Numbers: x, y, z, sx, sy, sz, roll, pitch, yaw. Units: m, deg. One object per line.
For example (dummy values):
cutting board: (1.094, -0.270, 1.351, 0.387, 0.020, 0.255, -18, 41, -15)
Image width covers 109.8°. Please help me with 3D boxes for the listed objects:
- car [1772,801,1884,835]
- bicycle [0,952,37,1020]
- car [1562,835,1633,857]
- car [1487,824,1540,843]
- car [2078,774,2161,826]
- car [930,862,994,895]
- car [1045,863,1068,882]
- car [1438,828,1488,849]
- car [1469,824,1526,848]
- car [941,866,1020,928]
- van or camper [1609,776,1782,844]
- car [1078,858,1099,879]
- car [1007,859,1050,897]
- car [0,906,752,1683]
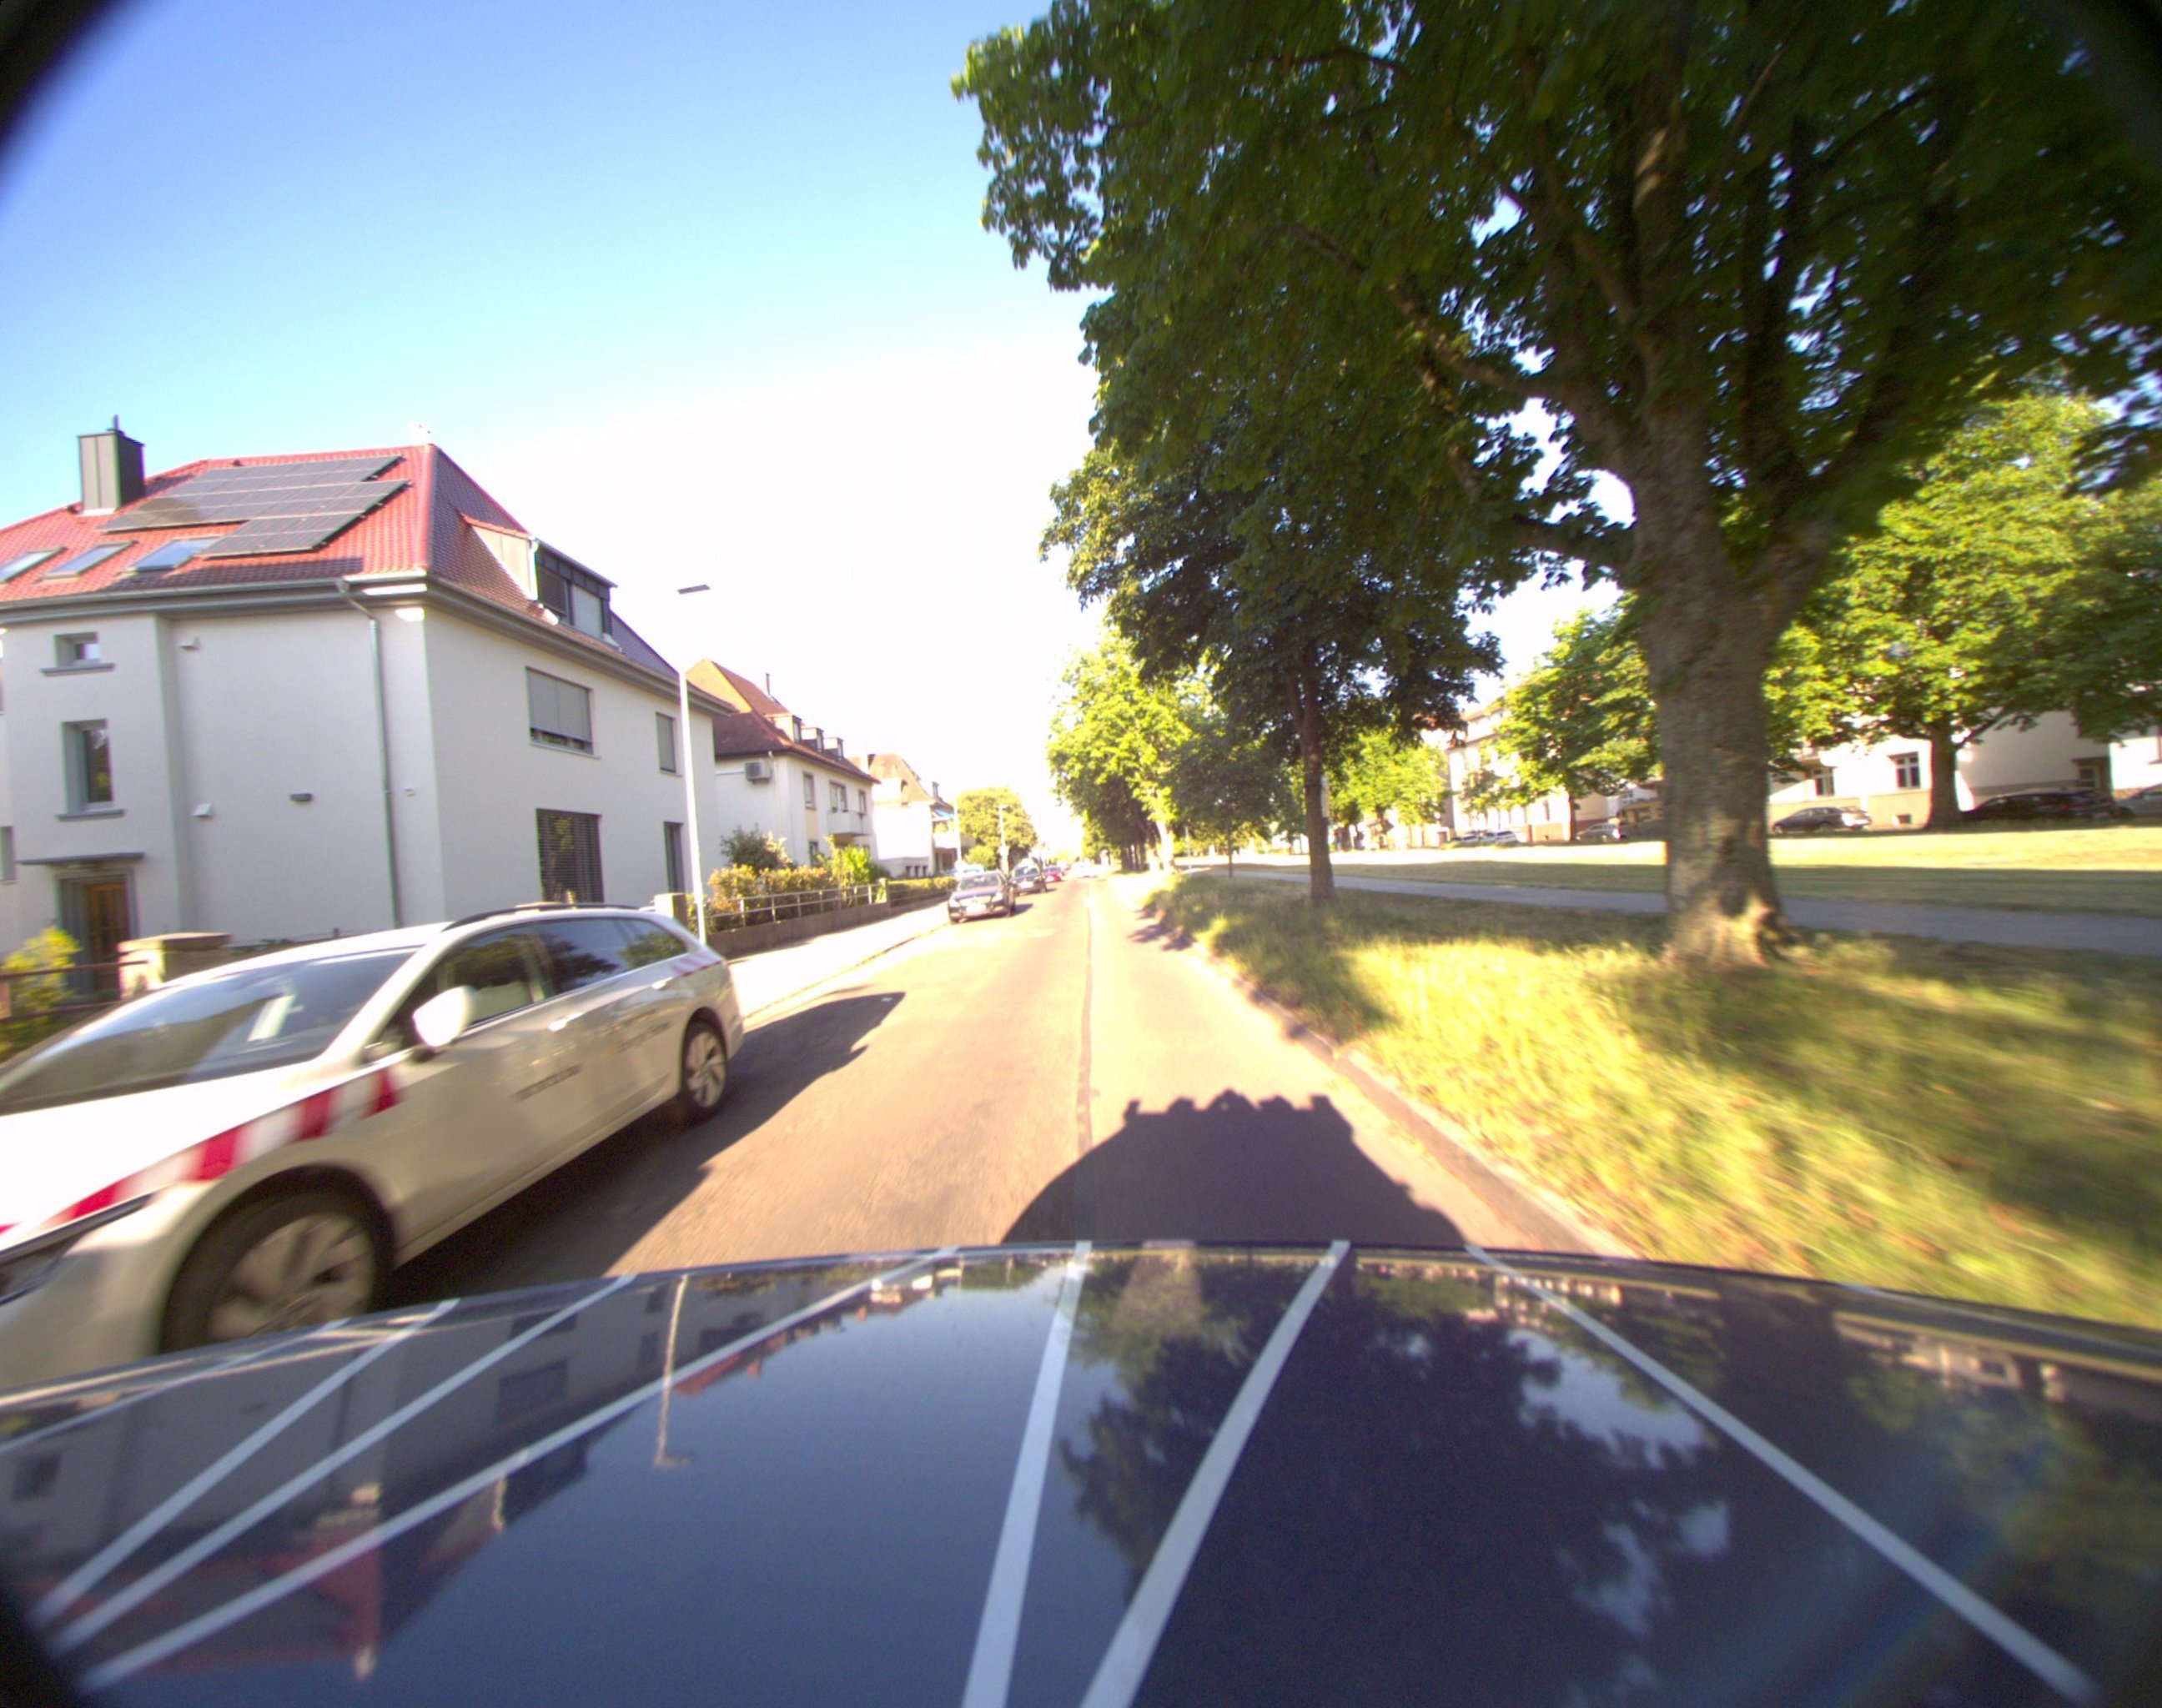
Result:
car: (40.016, -1.878, 40.833, 1.998, 1.455, 4.000, -5, 0, 0)
bicycle: (-19.853, 2.421, 13.563, 1.725, 1.135, 0.406, -5, 0, -1)
car: (40.063, -0.613, 59.078, 1.999, 1.445, 4.875, -5, 0, -1)
car: (40.637, -1.900, 71.536, 1.999, 1.445, 4.875, -5, 0, -2)
car: (39.774, -2.064, 27.535, 1.998, 1.724, 4.001, -5, -1, 2)
car: (-8.219, 1.715, 52.799, 3.998, 1.916, 2.000, -5, 0, -3)
car: (-2.141, 1.606, 67.362, 1.824, 1.486, 4.224, -5, 0, 0)
car: (34.411, -1.370, 68.547, 1.998, 1.680, 4.876, -5, 0, 1)
car: (34.385, -1.428, 62.937, 1.998, 1.680, 4.876, -5, 0, 1)
car: (-3.021, 1.255, 23.734, 1.784, 1.490, 4.397, -7, 0, -1)
van or camper: (34.377, -2.308, 43.045, 3.262, 3.092, 7.897, -5, 0, 1)
car: (0.808, 1.525, 80.305, 1.998, 2.002, 4.000, -5, 0, 1)
car: (-2.798, 1.256, 41.423, 1.863, 1.710, 4.467, -8, 0, -1)
car: (-3.481, 1.233, 3.363, 1.999, 1.455, 4.549, -8, 0, -2)
